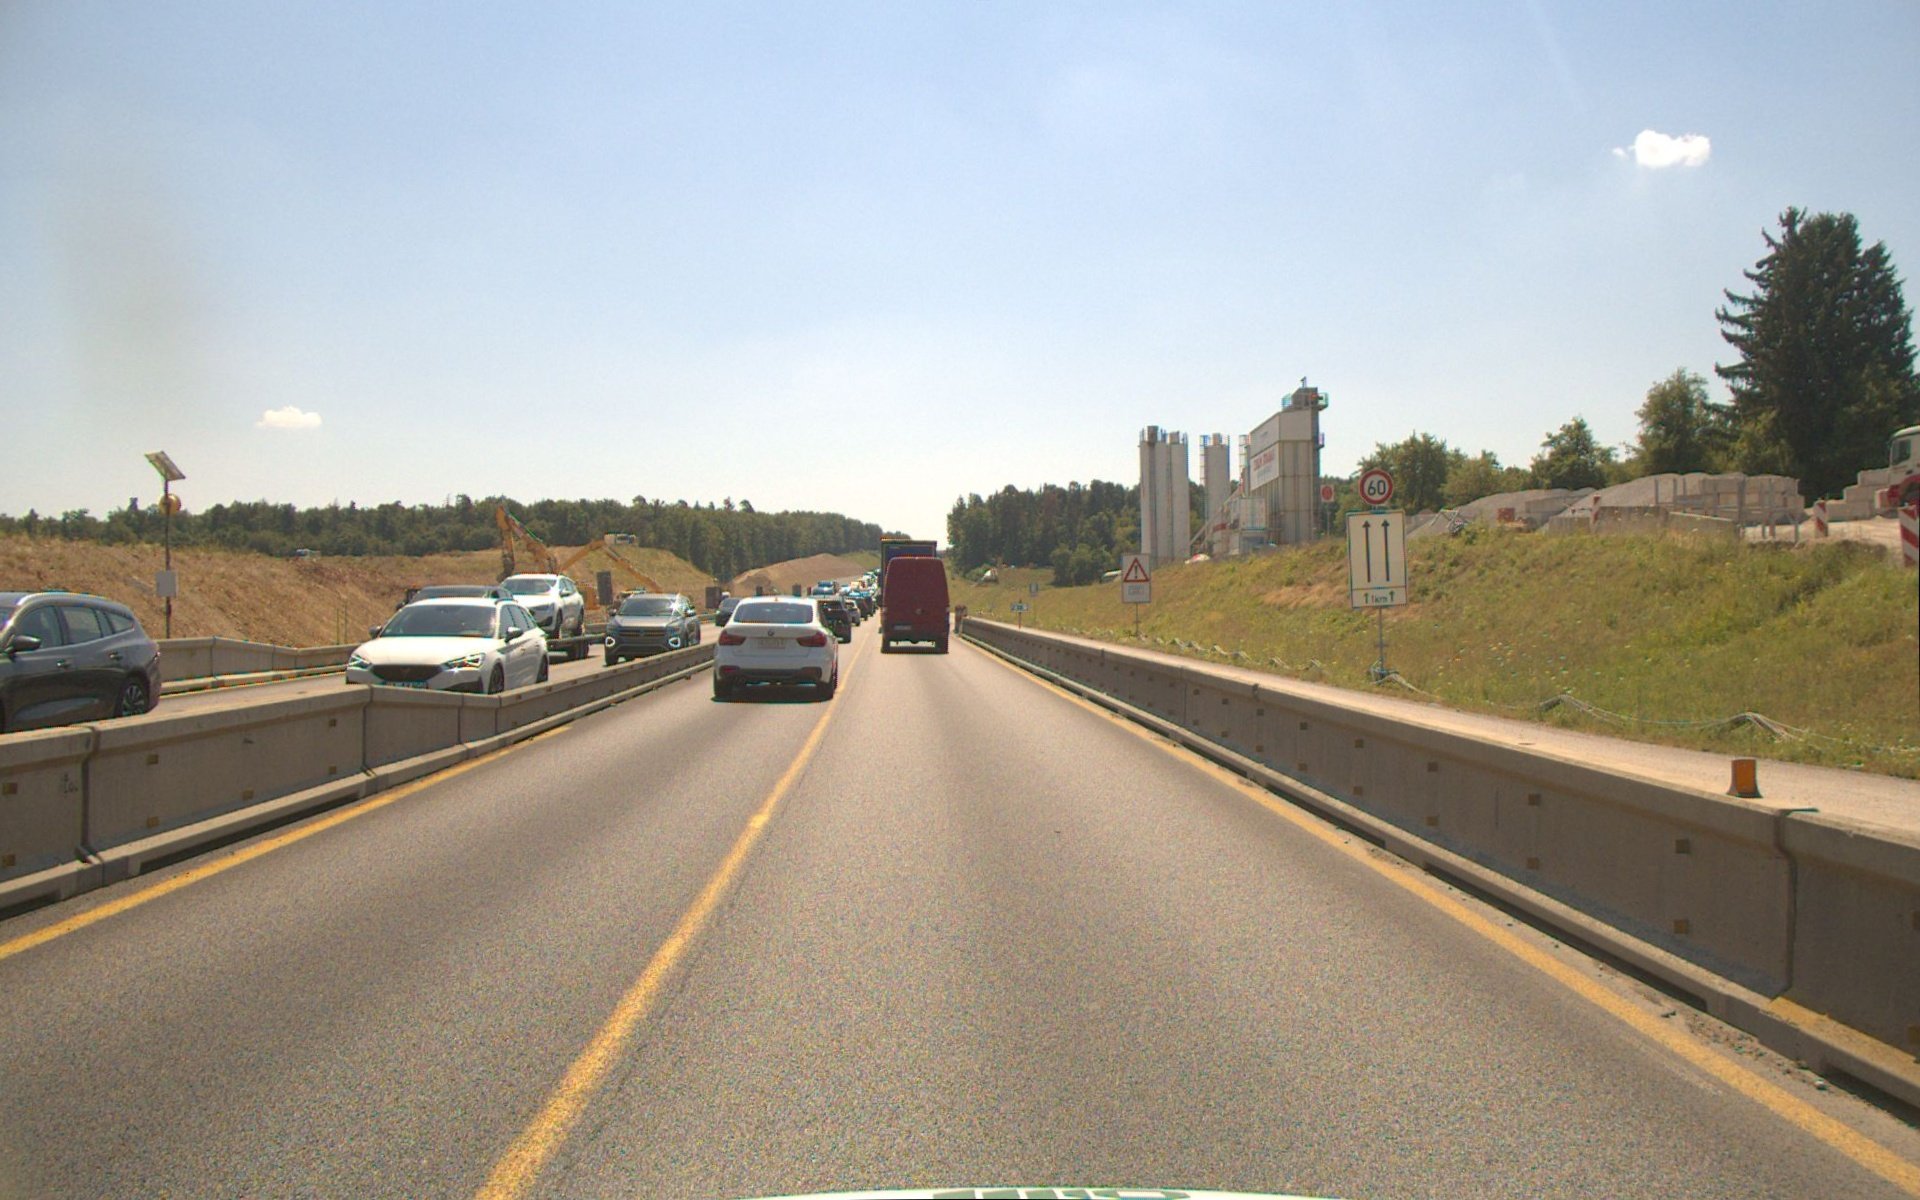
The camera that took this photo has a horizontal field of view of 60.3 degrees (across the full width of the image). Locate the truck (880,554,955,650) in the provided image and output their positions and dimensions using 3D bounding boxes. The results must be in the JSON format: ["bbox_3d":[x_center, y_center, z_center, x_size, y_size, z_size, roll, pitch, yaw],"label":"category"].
[{"bbox_3d":[-1.330,0.049,49.861,2.069,2.679,6.481,-1,0,-2],"label":"truck"}]

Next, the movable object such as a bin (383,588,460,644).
[{"bbox_3d":[-25.155,0.690,77.499,1.667,2.504,6.741,-1,0,-2],"label":"movable object such as a bin"}]

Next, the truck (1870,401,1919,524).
[{"bbox_3d":[34.438,-4.818,57.738,2.696,4.167,4.089,-1,0,-11],"label":"truck"}]

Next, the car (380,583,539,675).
[{"bbox_3d":[-9.886,0.528,33.037,1.884,1.708,4.715,0,0,-2],"label":"car"}]

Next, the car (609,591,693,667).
[{"bbox_3d":[-6.961,0.612,37.575,1.662,1.607,4.126,-1,0,-8],"label":"car"}]

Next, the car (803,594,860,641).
[{"bbox_3d":[-4.422,0.582,57.475,1.758,1.561,3.930,-1,0,-1],"label":"car"}]

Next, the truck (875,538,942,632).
[{"bbox_3d":[-2.458,-0.713,78.936,2.955,4.225,8.269,-1,0,-2],"label":"truck"}]

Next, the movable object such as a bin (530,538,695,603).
[{"bbox_3d":[-40.307,-3.455,192.562,18.344,7.358,3.612,-1,0,-5],"label":"movable object such as a bin"}]

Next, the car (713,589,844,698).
[{"bbox_3d":[-2.804,0.632,26.429,1.759,1.561,5.070,0,0,-3],"label":"car"}]

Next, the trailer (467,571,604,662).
[{"bbox_3d":[-10.094,0.353,39.769,2.088,2.017,5.232,-1,0,-2],"label":"trailer"}]

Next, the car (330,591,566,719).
[{"bbox_3d":[-6.550,0.631,21.702,1.779,1.481,4.633,-1,0,-2],"label":"car"}]

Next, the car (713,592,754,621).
[{"bbox_3d":[-12.447,0.325,91.010,1.823,1.527,4.574,-1,0,-2],"label":"car"}]

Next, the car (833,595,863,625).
[{"bbox_3d":[-7.883,0.671,116.656,1.953,2.049,3.998,-1,0,-2],"label":"car"}]

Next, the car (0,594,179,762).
[{"bbox_3d":[-9.255,0.675,15.616,1.785,1.448,4.644,-1,0,-4],"label":"car"}]

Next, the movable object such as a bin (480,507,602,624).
[{"bbox_3d":[-28.757,-2.329,113.827,7.482,7.848,3.445,-1,0,-1],"label":"movable object such as a bin"}]
